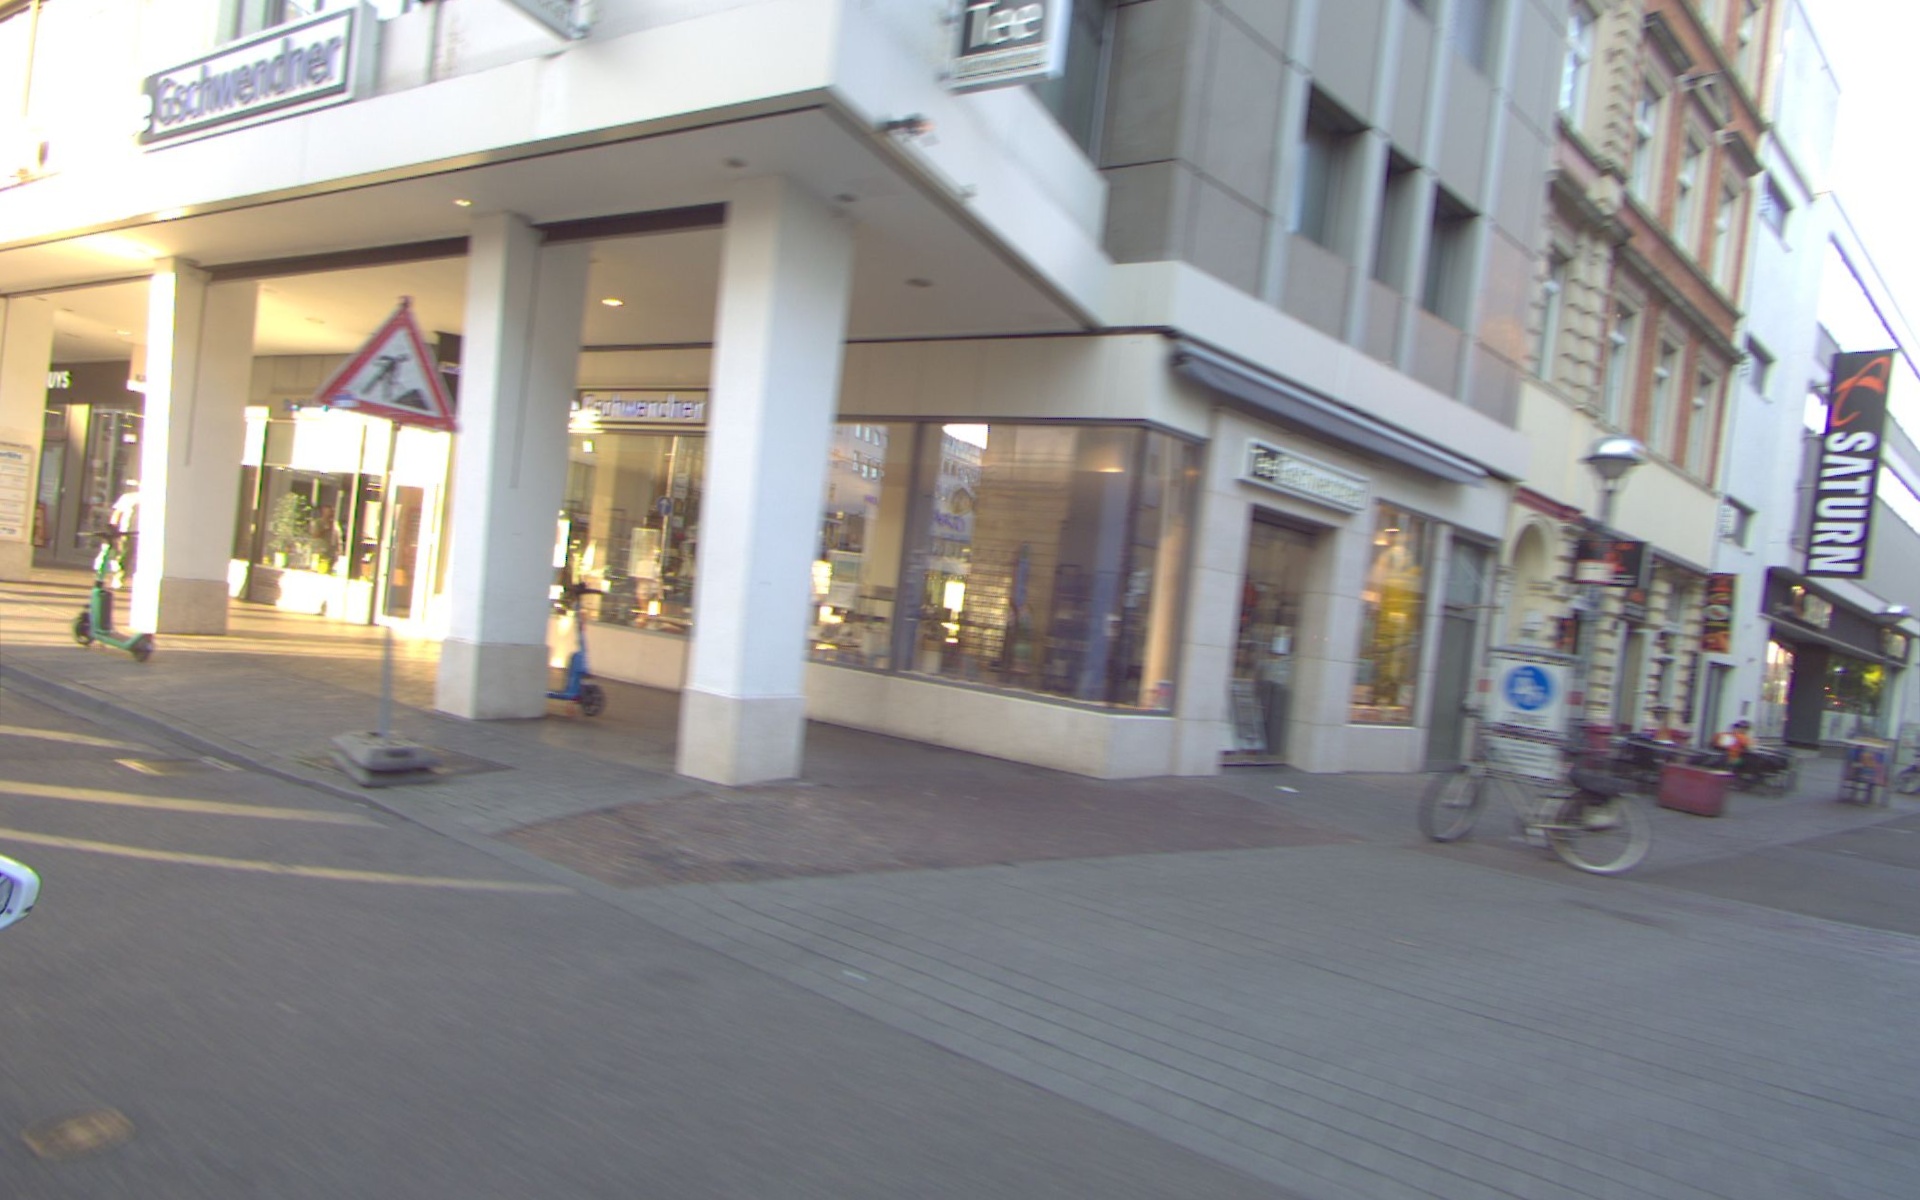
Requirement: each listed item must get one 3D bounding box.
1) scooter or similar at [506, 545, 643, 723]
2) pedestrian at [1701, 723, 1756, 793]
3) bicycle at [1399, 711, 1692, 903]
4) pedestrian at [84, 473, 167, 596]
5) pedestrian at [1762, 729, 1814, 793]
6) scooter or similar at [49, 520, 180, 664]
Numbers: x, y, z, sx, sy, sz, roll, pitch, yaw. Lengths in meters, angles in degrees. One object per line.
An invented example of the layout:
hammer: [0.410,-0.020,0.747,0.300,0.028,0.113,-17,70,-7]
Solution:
scooter or similar: [-3.647,0.301,9.480,1.292,1.507,0.314,7,1,30]
pedestrian: [13.744,2.814,17.993,0.520,1.137,0.559,6,1,-37]
bicycle: [4.611,1.577,8.027,1.816,1.041,0.770,9,0,33]
pedestrian: [-13.336,-1.037,16.083,0.620,1.837,0.700,7,-1,33]
pedestrian: [16.162,3.140,19.632,0.520,1.137,0.559,6,1,-37]
scooter or similar: [-8.190,-0.084,9.736,1.159,1.250,0.506,7,0,29]
